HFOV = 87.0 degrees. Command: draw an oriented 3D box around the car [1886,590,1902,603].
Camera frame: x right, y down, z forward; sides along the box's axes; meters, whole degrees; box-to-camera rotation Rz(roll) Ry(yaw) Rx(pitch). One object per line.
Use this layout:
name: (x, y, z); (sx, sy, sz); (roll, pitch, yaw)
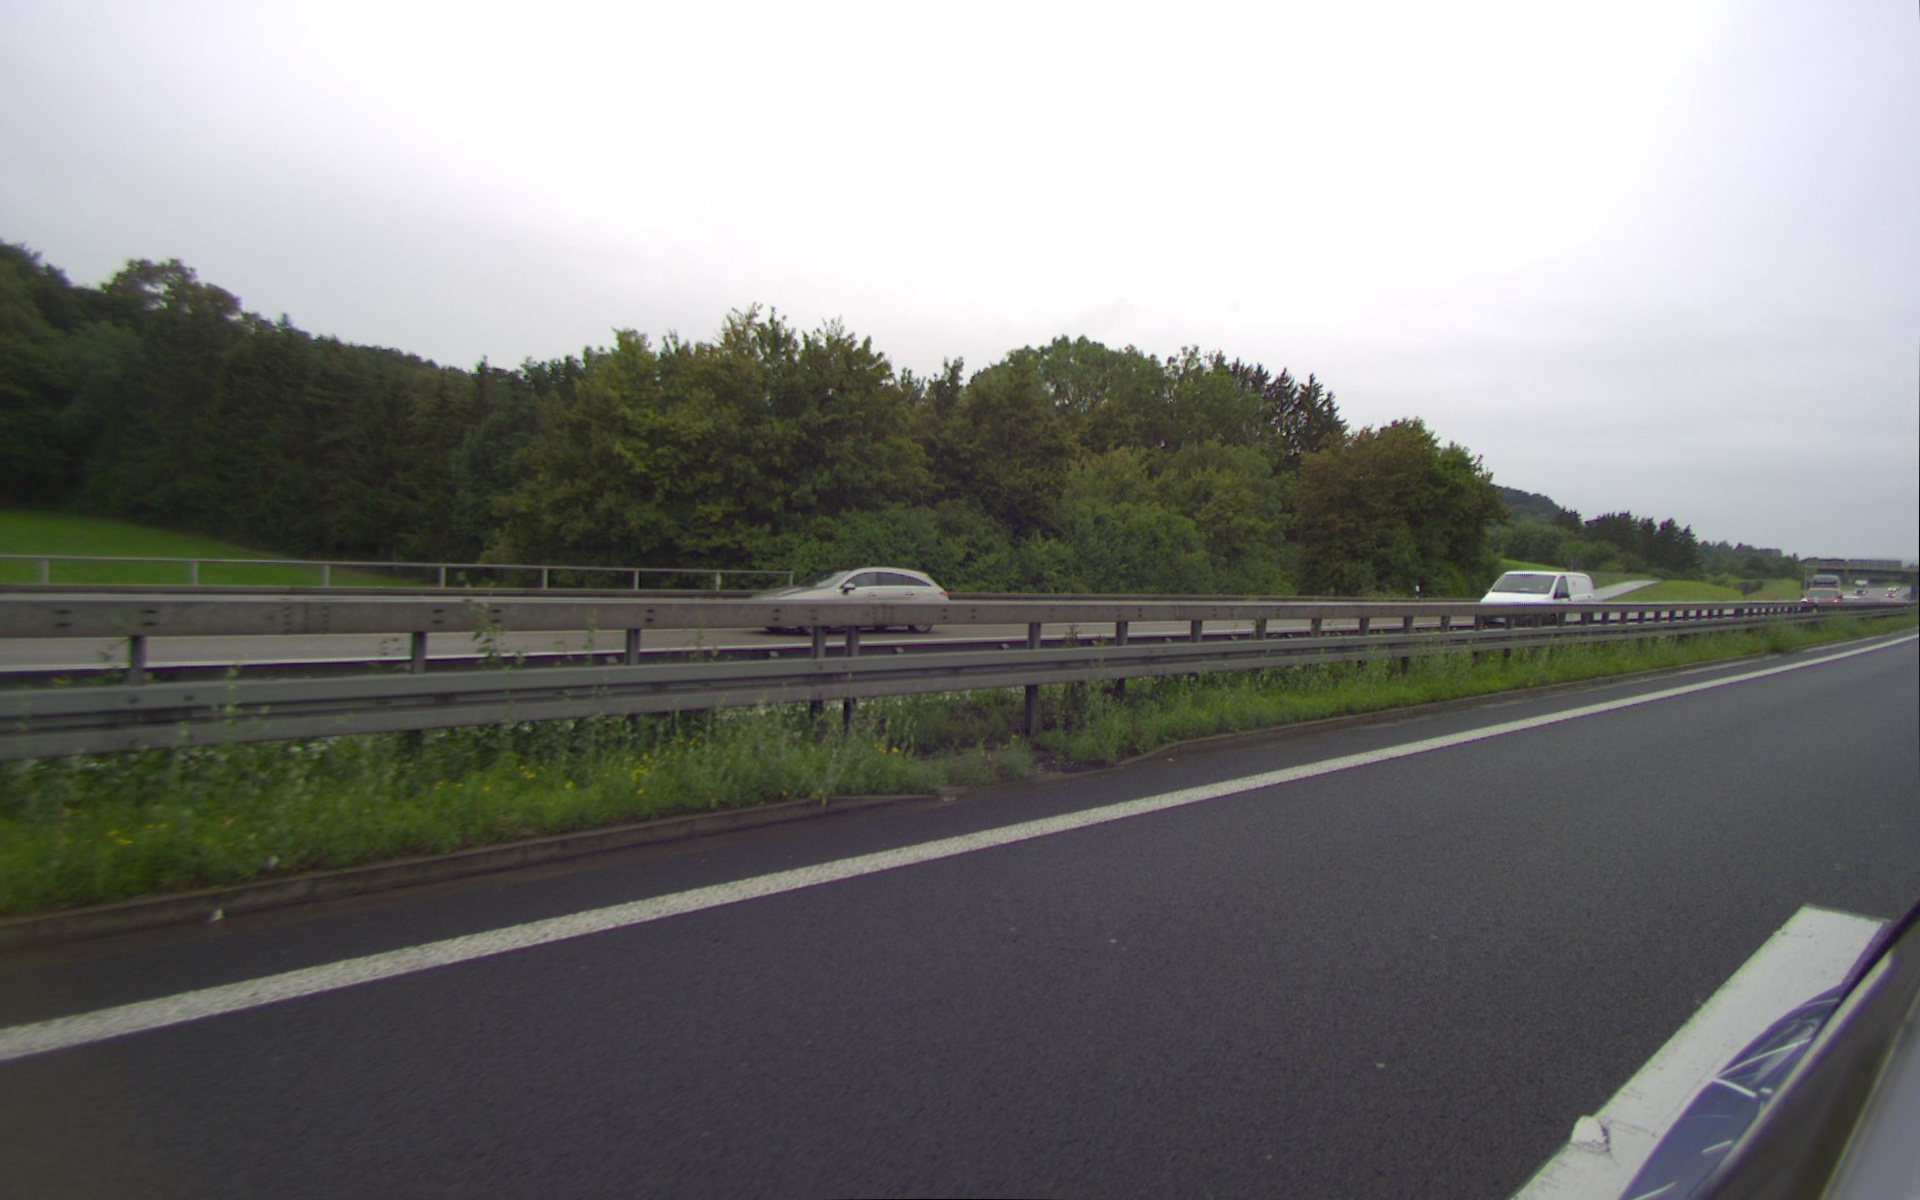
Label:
car: (149.613, -0.625, 162.121); (1.748, 2.039, 4.428); (2, 2, 44)

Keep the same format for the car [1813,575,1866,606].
car: (60.109, -0.689, 69.155); (4.990, 2.038, 2.128); (-1, 2, -42)

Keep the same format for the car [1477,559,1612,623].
car: (16.797, -0.282, 28.984); (4.636, 1.714, 1.913); (-1, 2, -41)

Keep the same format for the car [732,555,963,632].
car: (-2.309, -0.172, 21.561); (4.627, 1.473, 1.903); (-1, 2, -40)

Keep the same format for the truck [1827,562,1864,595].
truck: (109.063, -2.621, 124.590); (2.793, 3.949, 9.866); (2, 2, 45)
